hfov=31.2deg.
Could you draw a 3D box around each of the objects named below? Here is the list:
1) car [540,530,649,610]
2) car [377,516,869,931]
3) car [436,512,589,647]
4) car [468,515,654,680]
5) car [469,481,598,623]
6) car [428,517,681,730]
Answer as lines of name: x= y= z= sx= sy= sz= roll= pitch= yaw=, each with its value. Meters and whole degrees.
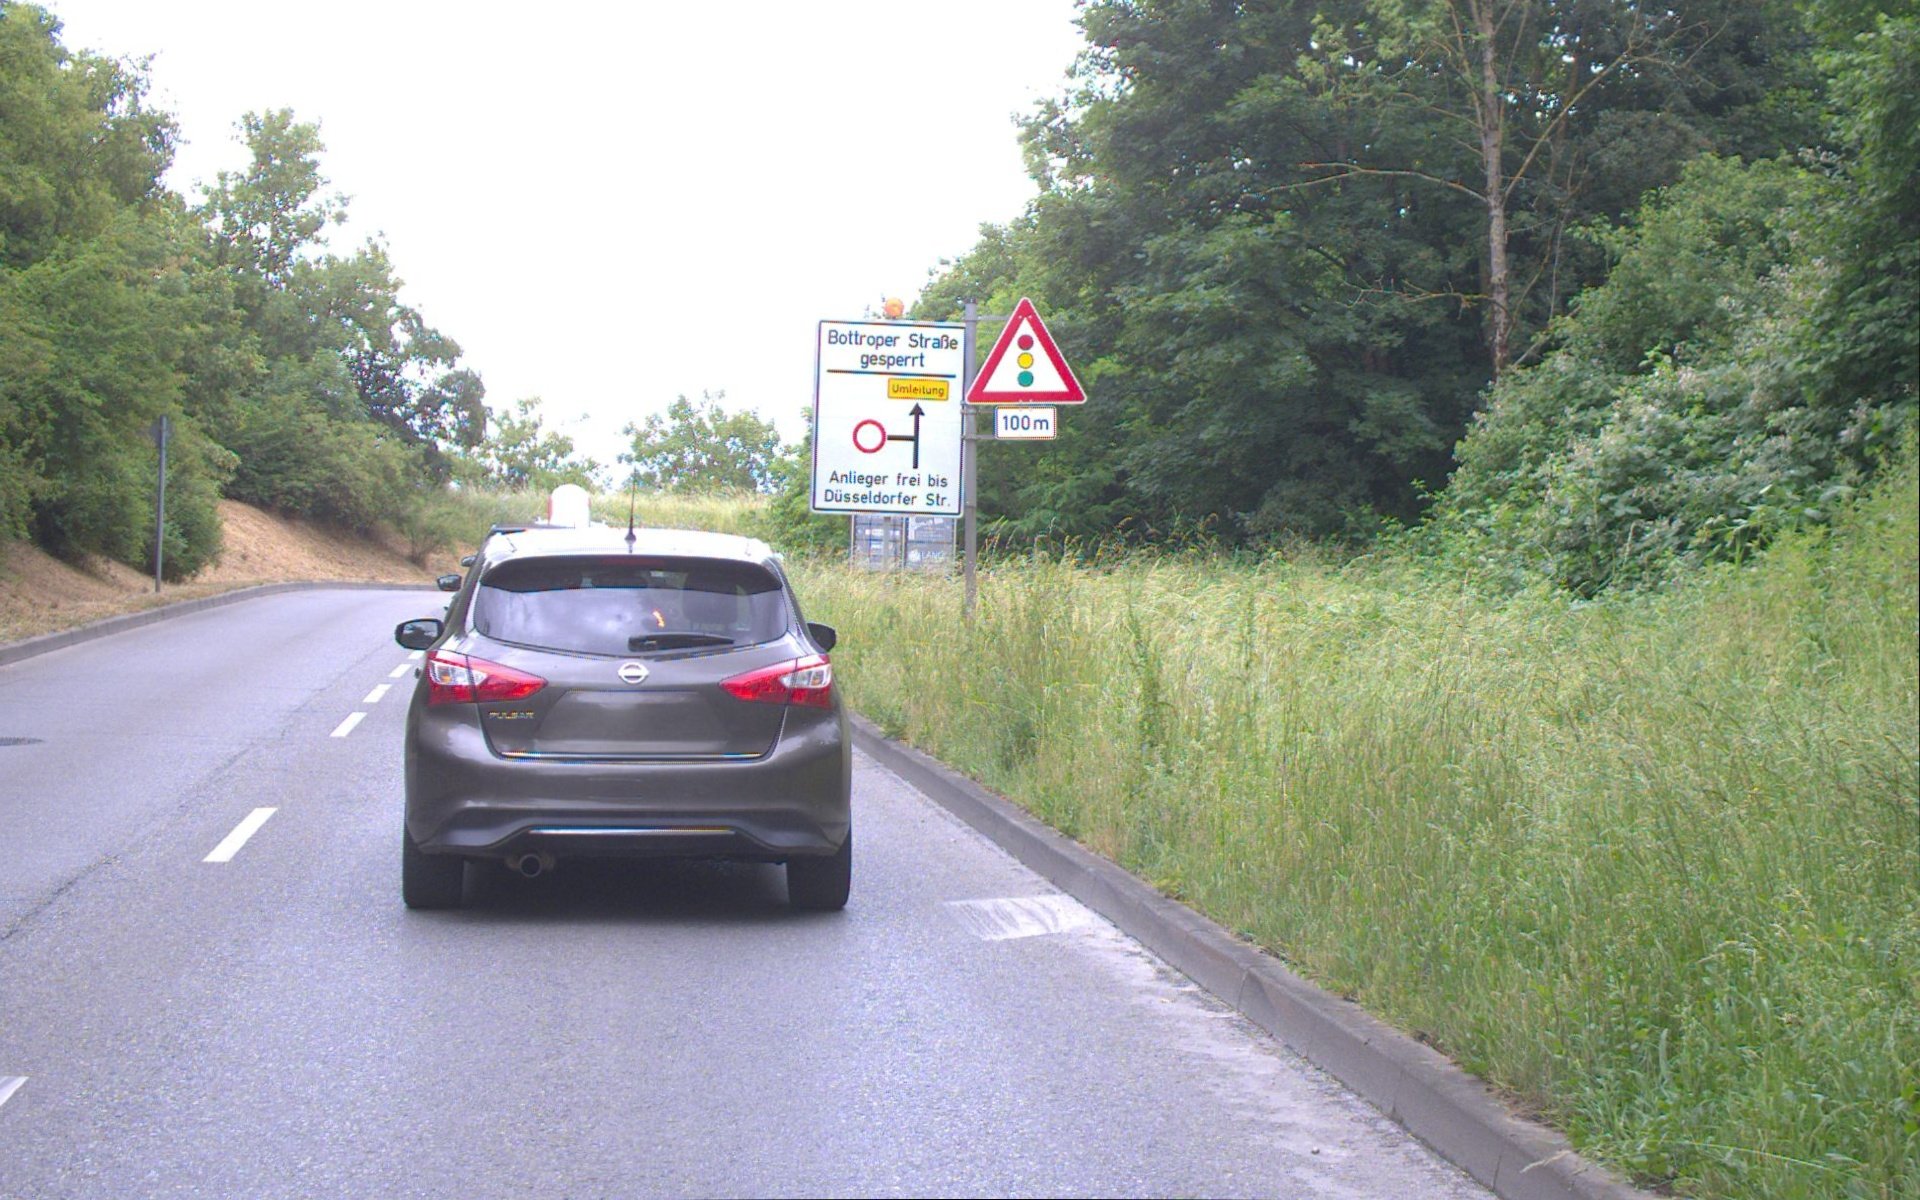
car: x=-7.180 y=-0.616 z=67.837 sx=1.736 sy=1.521 sz=3.641 roll=0 pitch=1 yaw=0
car: x=-1.453 y=0.428 z=14.669 sx=1.830 sy=1.551 sz=3.500 roll=1 pitch=1 yaw=-6
car: x=-5.341 y=-0.276 z=41.342 sx=1.735 sy=1.551 sz=3.544 roll=0 pitch=1 yaw=-6
car: x=-3.934 y=-0.068 z=34.127 sx=1.735 sy=1.551 sz=3.544 roll=0 pitch=1 yaw=-6
car: x=-5.987 y=-0.690 z=48.508 sx=1.735 sy=1.928 sz=3.544 roll=0 pitch=1 yaw=-6
car: x=-3.136 y=0.126 z=26.850 sx=1.830 sy=1.551 sz=3.625 roll=0 pitch=1 yaw=-6
